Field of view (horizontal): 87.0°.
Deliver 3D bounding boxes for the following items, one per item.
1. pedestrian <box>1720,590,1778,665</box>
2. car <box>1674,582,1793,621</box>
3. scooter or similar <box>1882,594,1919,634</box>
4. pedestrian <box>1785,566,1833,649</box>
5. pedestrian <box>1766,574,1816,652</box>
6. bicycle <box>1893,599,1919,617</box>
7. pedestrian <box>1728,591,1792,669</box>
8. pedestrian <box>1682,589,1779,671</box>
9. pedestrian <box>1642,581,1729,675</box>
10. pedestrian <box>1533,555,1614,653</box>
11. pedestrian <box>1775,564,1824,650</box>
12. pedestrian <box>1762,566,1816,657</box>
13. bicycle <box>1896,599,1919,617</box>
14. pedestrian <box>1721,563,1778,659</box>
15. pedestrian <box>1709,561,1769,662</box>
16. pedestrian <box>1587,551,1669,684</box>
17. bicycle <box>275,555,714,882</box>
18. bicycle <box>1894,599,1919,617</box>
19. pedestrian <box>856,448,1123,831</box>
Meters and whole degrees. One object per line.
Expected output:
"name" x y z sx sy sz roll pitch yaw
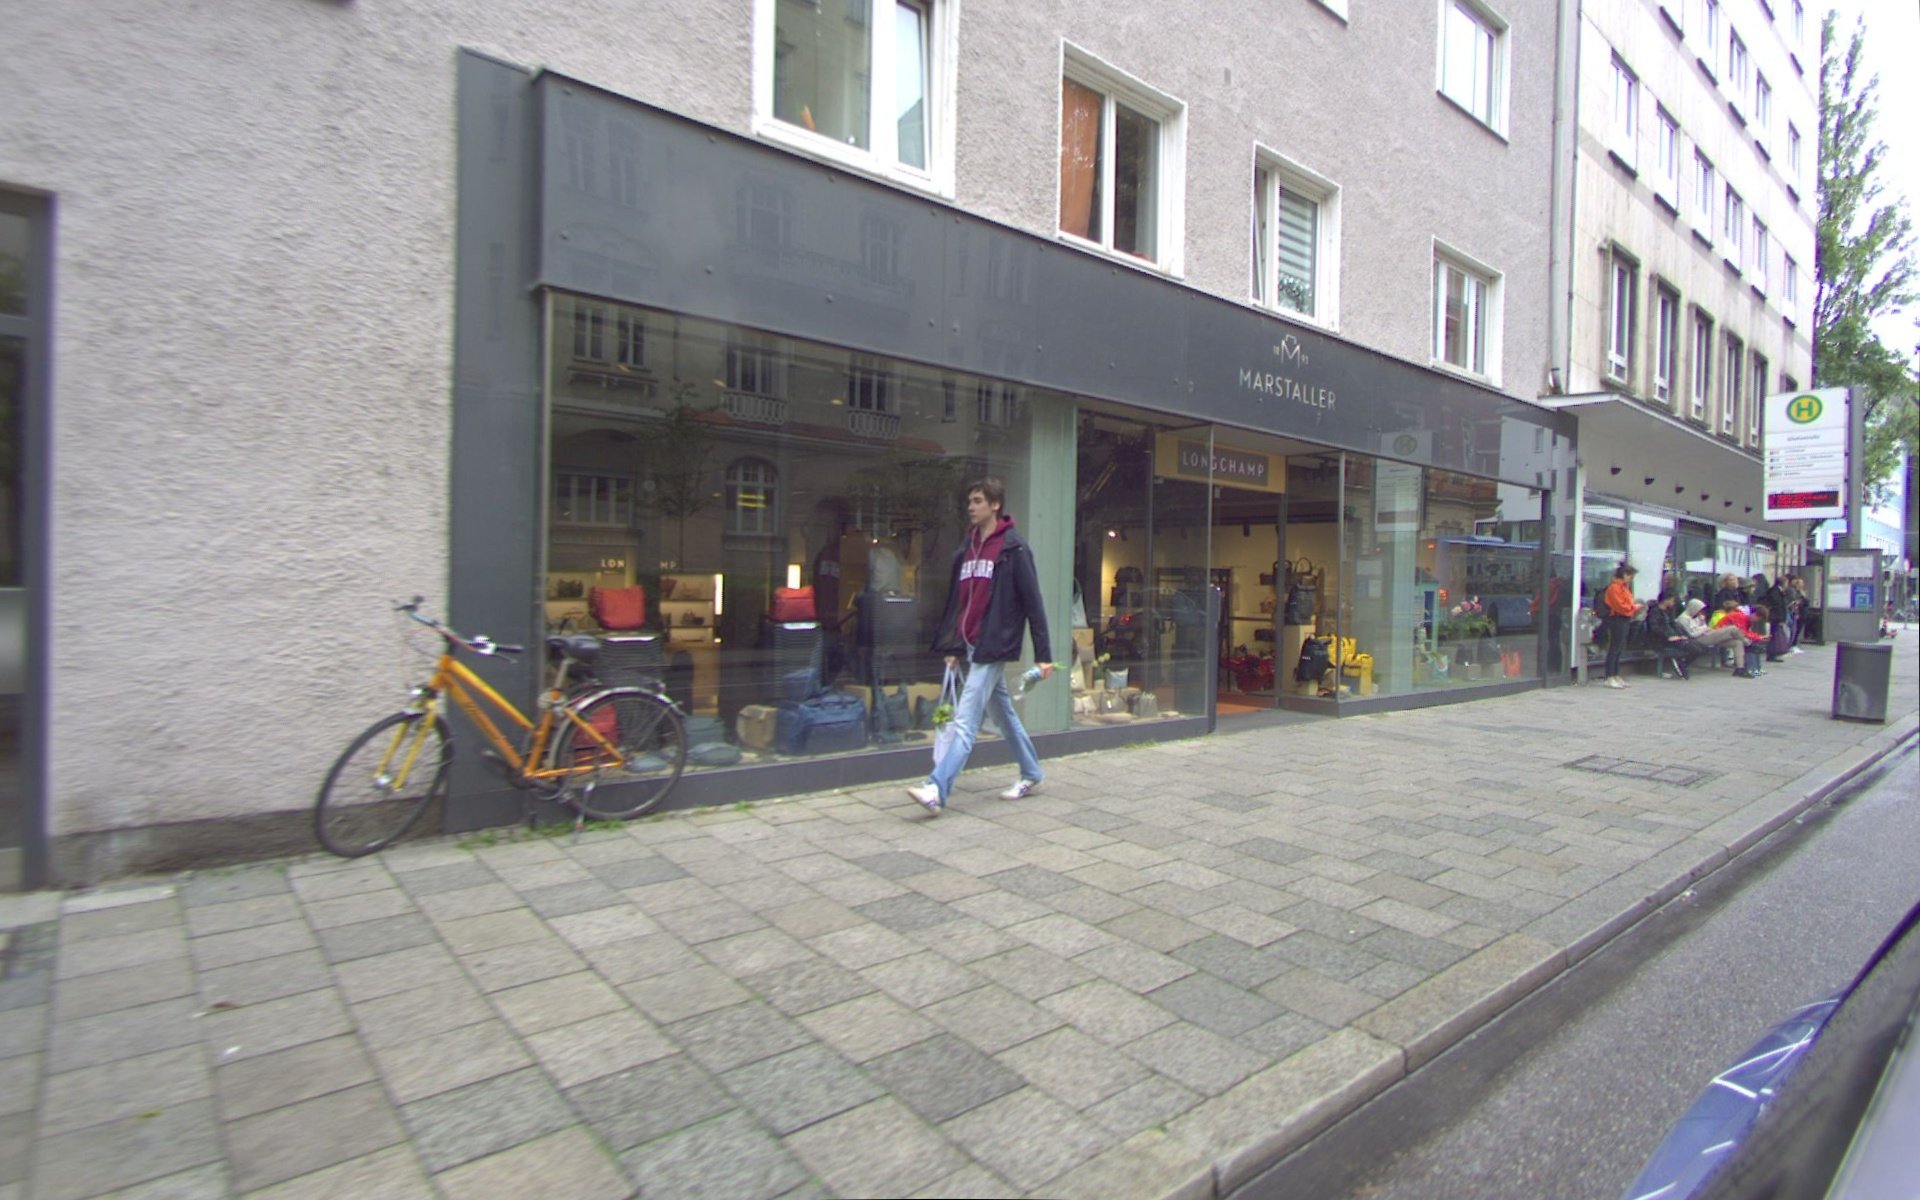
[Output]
"pedestrian" 13.665 0.458 17.532 0.487 1.252 0.682 0 2 -39
"car" 38.732 0.027 50.750 1.838 1.770 4.458 0 2 -40
"scooter or similar" 30.844 0.442 33.115 1.415 1.257 0.565 0 1 -30
"pedestrian" 19.144 0.159 22.823 0.757 1.805 0.659 0 2 -39
"pedestrian" 17.684 0.259 21.529 0.683 1.613 0.659 0 2 -39
"bicycle" 61.977 0.534 65.625 2.115 1.131 0.728 3 2 41
"pedestrian" 13.449 0.482 17.014 0.574 1.252 0.709 0 2 -39
"pedestrian" 12.550 0.467 16.500 0.656 1.252 1.099 0 2 -39
"pedestrian" 11.157 0.405 15.572 0.847 1.369 0.862 0 2 -39
"pedestrian" 9.151 0.042 15.099 0.829 1.405 0.771 0 2 -41
"pedestrian" 18.546 0.136 22.362 0.683 1.845 0.659 0 2 -39
"pedestrian" 16.475 0.211 20.113 0.683 1.754 0.659 0 2 -39
"bicycle" 62.748 0.542 66.222 2.115 1.131 0.728 3 2 41
"pedestrian" 14.891 0.201 19.086 0.764 1.754 0.659 0 2 -39
"pedestrian" 13.931 0.198 18.096 0.671 1.754 0.659 0 2 -39
"pedestrian" 9.154 0.213 13.867 0.733 1.754 0.704 0 2 -39
"bicycle" -2.123 0.464 4.777 1.788 1.275 0.514 0 5 -40
"bicycle" 63.423 0.528 67.103 2.115 1.131 0.620 3 2 41
"pedestrian" 0.169 0.180 5.829 1.158 1.933 0.929 0 2 -40
